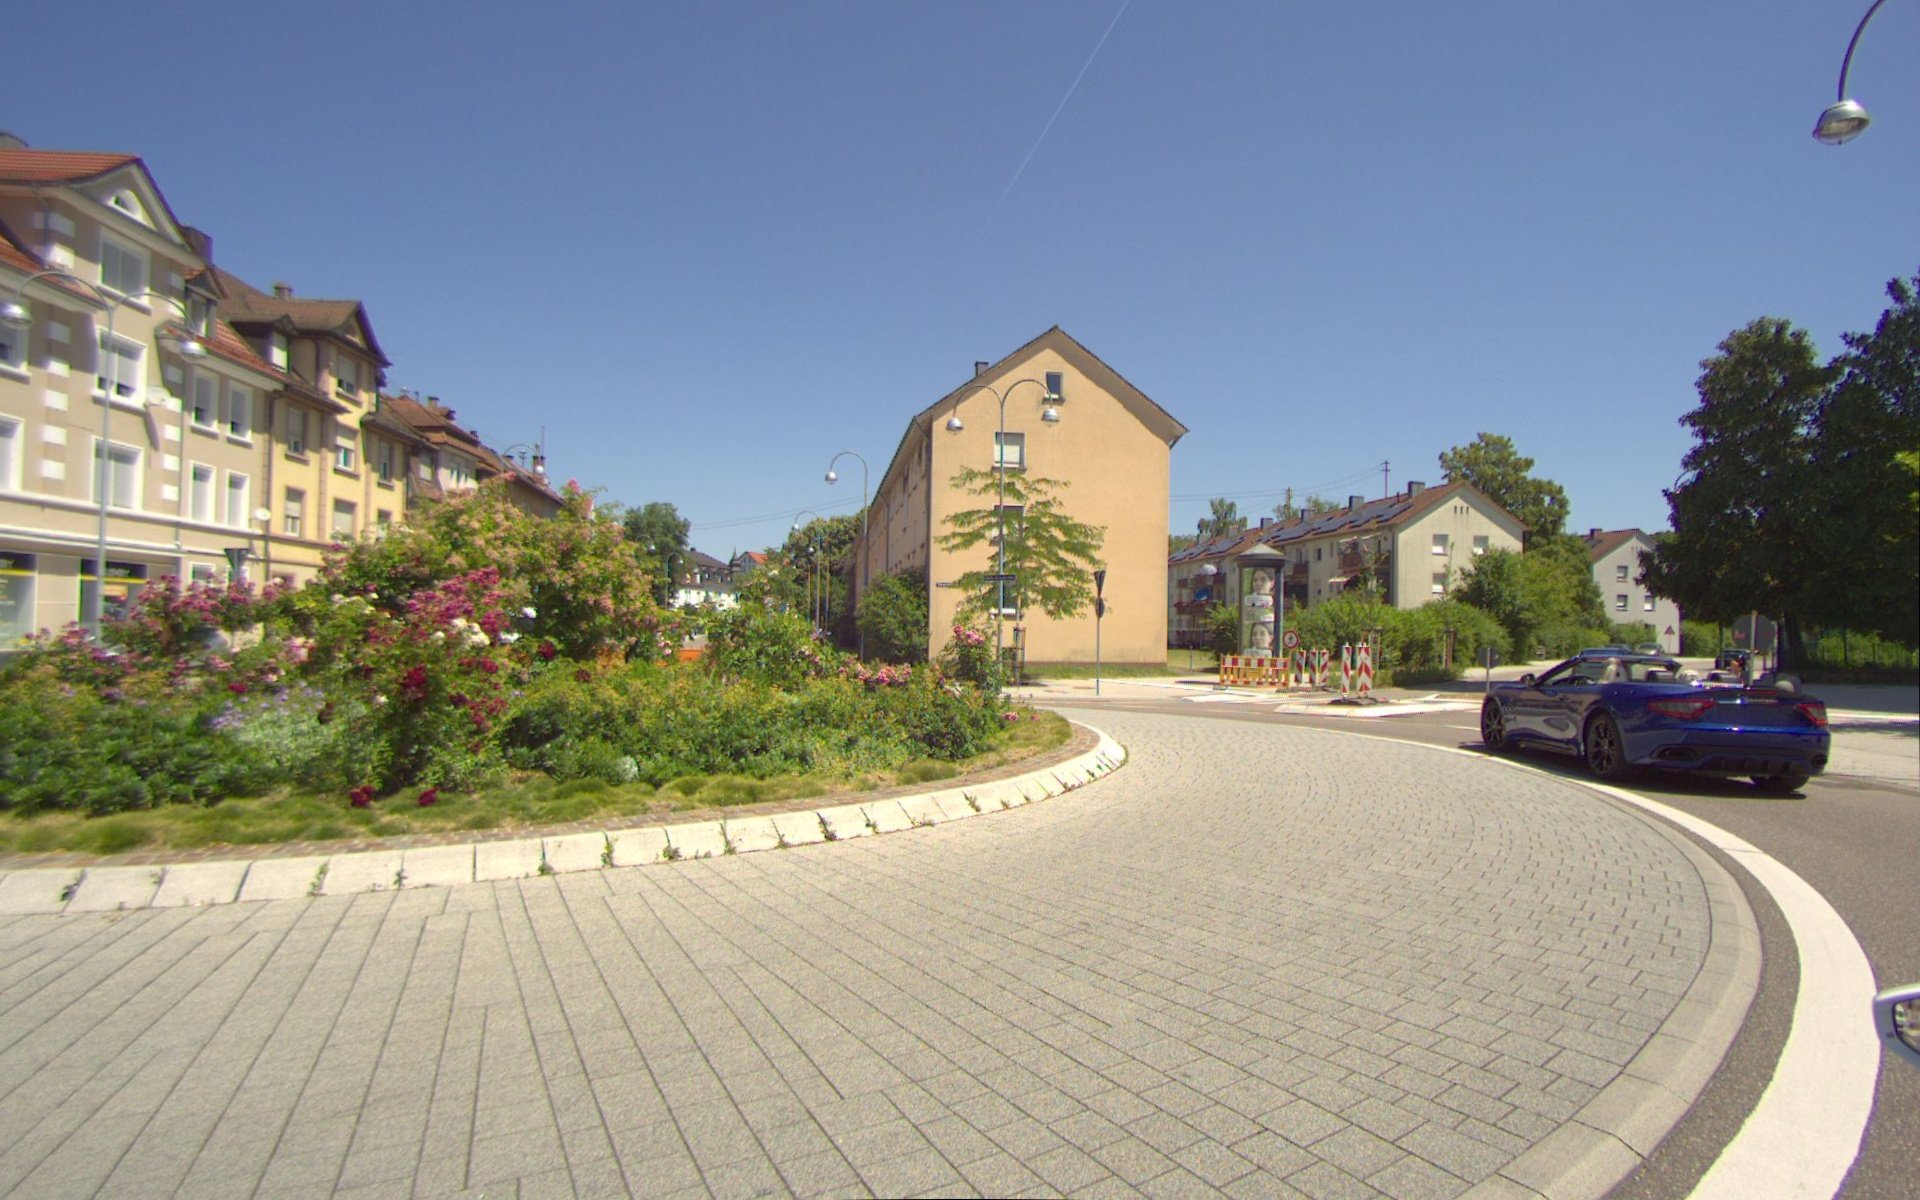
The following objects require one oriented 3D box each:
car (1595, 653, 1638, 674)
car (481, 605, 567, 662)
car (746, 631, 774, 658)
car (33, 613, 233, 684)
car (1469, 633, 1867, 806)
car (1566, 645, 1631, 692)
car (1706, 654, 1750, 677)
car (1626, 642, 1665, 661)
[{"bbox_3d":[47.649,4.569,72.909,3.683,1.455,1.723,2,-3,-42],"label":"car"},{"bbox_3d":[-21.303,1.656,49.437,2.112,2.566,6.231,3,-2,-7],"label":"car"},{"bbox_3d":[-14.264,3.168,71.853,1.786,1.817,3.993,3,-2,-10],"label":"car"},{"bbox_3d":[-21.972,1.274,26.973,1.748,1.708,4.691,1,-2,-5],"label":"car"},{"bbox_3d":[7.770,1.258,11.684,1.839,1.549,4.511,2,-4,7],"label":"car"},{"bbox_3d":[21.217,2.230,33.356,1.715,1.455,3.700,-2,-3,33],"label":"car"},{"bbox_3d":[52.123,4.445,68.171,3.684,1.455,1.723,2,-3,-43],"label":"car"},{"bbox_3d":[55.382,4.163,81.164,3.683,1.455,1.723,2,-3,-42],"label":"car"}]
